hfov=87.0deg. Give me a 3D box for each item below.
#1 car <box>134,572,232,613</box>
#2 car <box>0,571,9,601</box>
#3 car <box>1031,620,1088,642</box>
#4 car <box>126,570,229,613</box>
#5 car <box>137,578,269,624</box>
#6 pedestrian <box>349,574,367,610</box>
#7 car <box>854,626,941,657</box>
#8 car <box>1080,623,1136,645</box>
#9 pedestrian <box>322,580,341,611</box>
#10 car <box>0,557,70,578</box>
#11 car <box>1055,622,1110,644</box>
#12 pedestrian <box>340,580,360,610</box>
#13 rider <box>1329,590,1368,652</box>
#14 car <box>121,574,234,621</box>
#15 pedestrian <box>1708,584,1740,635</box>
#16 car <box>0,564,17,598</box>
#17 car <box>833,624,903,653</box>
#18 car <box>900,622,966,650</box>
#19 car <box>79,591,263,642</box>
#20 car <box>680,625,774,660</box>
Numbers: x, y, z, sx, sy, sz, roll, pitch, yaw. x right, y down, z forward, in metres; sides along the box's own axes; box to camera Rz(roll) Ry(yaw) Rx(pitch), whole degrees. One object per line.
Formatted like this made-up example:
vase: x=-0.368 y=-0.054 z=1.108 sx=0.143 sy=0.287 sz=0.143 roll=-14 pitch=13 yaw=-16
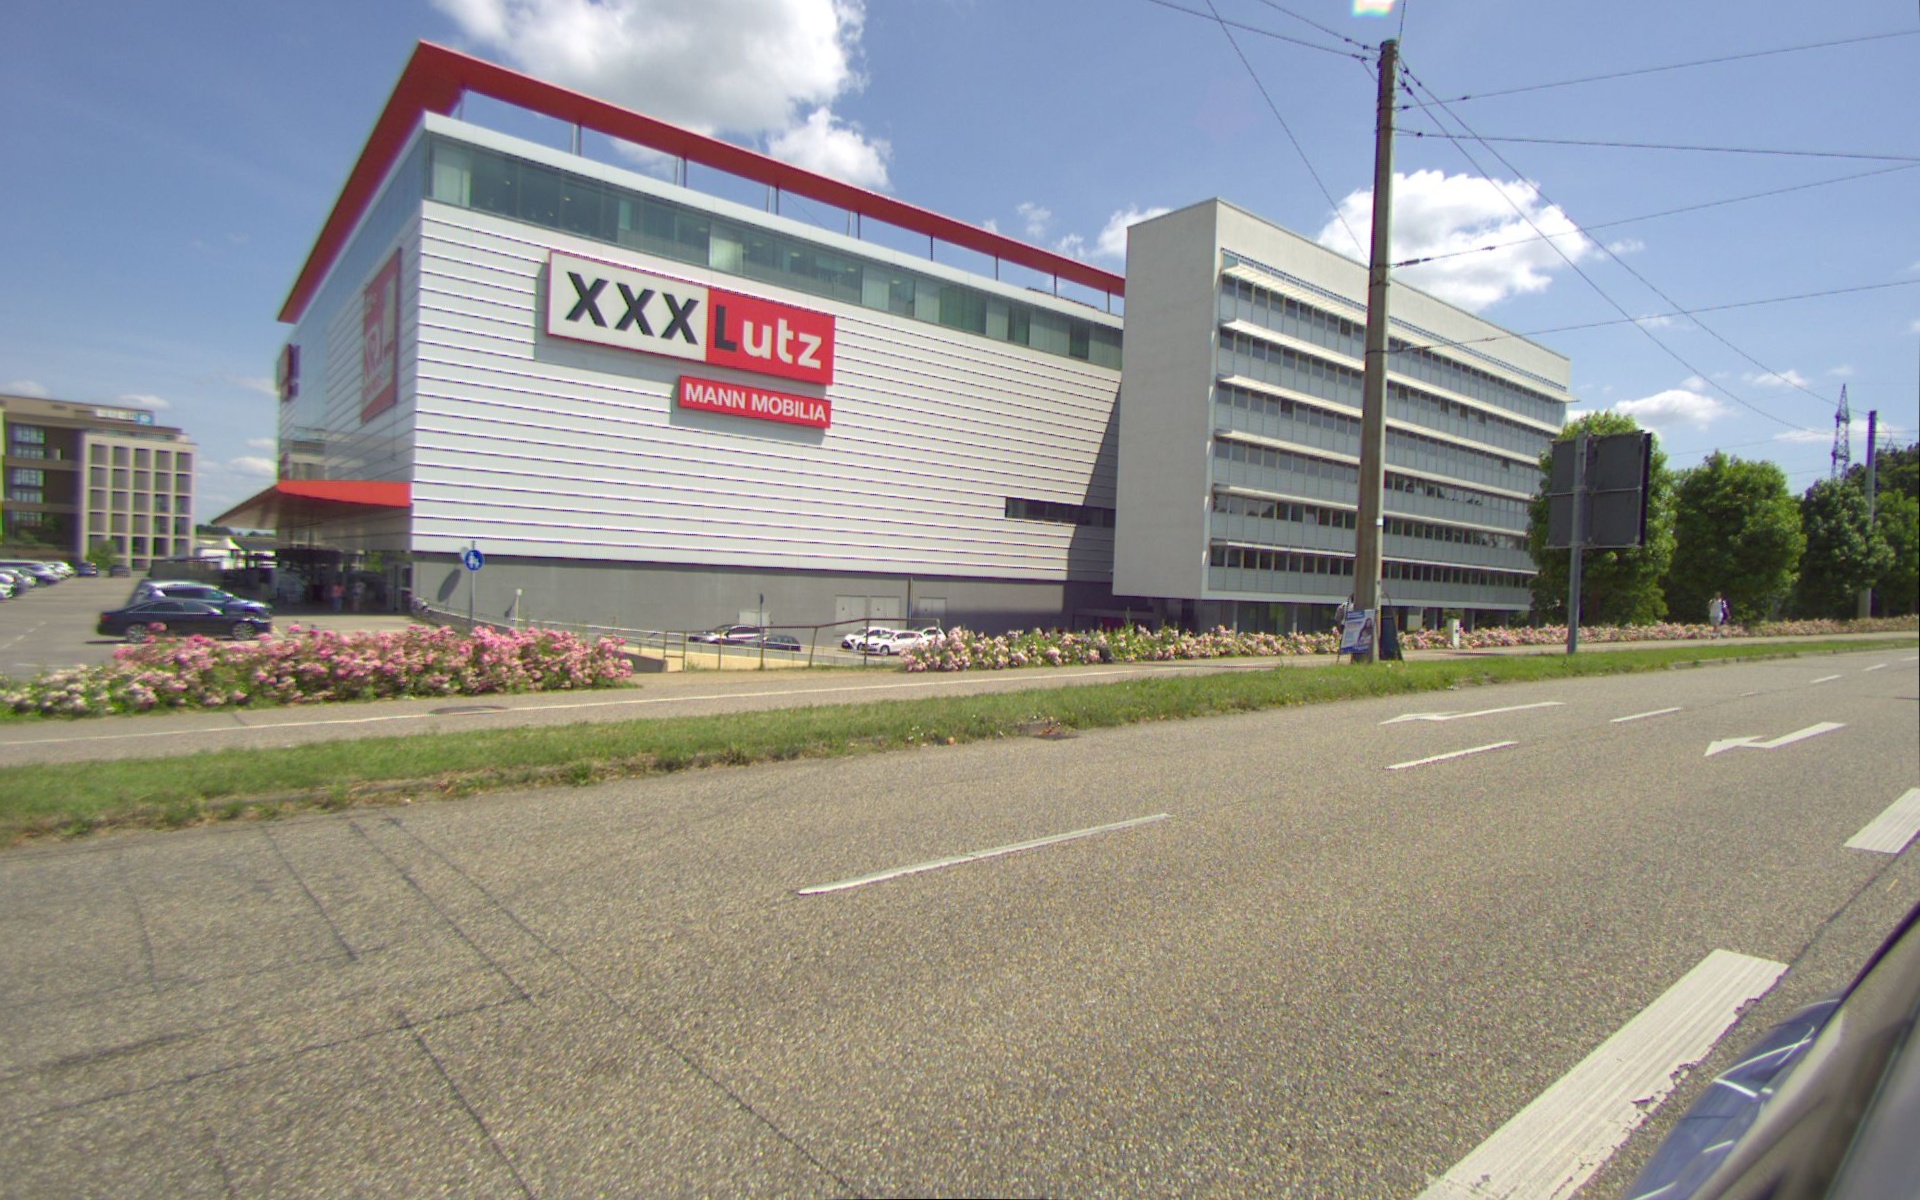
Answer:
car: x=-39.959 y=-0.403 z=52.095 sx=3.930 sy=2.039 sz=1.997 roll=0 pitch=1 yaw=-41
car: x=-55.358 y=-0.777 z=55.255 sx=4.912 sy=1.631 sz=1.997 roll=0 pitch=0 yaw=-41
car: x=7.207 y=2.243 z=73.350 sx=3.930 sy=1.465 sz=1.997 roll=0 pitch=1 yaw=-41
car: x=-38.530 y=-0.398 z=49.864 sx=3.930 sy=2.039 sz=1.997 roll=0 pitch=0 yaw=-41
car: x=-31.232 y=0.061 z=41.794 sx=4.256 sy=1.804 sz=1.997 roll=0 pitch=-1 yaw=-41
pedestrian: x=-32.177 y=-0.421 z=54.085 sx=0.723 sy=1.893 sz=0.741 roll=1 pitch=0 yaw=-42
car: x=-3.724 y=2.441 z=60.974 sx=5.056 sy=1.632 sz=1.997 roll=0 pitch=1 yaw=-41
car: x=10.140 y=2.283 z=69.137 sx=3.930 sy=1.338 sz=1.607 roll=0 pitch=1 yaw=-41
pedestrian: x=-32.978 y=-0.244 z=53.117 sx=0.723 sy=1.577 sz=0.741 roll=1 pitch=0 yaw=-42
car: x=-79.380 y=-2.755 z=86.460 sx=4.912 sy=1.631 sz=1.997 roll=0 pitch=0 yaw=-41
car: x=8.656 y=2.322 z=71.529 sx=3.930 sy=1.403 sz=1.646 roll=0 pitch=1 yaw=-41
pedestrian: x=-31.879 y=-0.256 z=52.892 sx=0.723 sy=1.577 sz=0.741 roll=1 pitch=0 yaw=-42
rider: x=9.513 y=0.501 z=24.786 sx=0.607 sy=1.476 sz=0.670 roll=0 pitch=0 yaw=-41
car: x=-35.201 y=-0.129 z=45.551 sx=3.930 sy=2.039 sz=1.997 roll=0 pitch=1 yaw=-41
pedestrian: x=28.497 y=0.335 z=37.757 sx=0.913 sy=1.872 sz=0.758 roll=0 pitch=0 yaw=-38
car: x=-60.064 y=-1.169 z=61.477 sx=3.930 sy=2.039 sz=1.997 roll=0 pitch=1 yaw=-41
car: x=-5.699 y=2.360 z=62.978 sx=3.930 sy=1.632 sz=1.997 roll=0 pitch=1 yaw=-41
car: x=-1.762 y=2.348 z=66.419 sx=3.930 sy=1.632 sz=1.997 roll=0 pitch=1 yaw=-41
car: x=-27.144 y=0.523 z=34.954 sx=4.912 sy=1.631 sz=1.997 roll=0 pitch=0 yaw=-41
car: x=-12.396 y=2.240 z=54.041 sx=4.509 sy=1.632 sz=1.997 roll=0 pitch=1 yaw=-41
